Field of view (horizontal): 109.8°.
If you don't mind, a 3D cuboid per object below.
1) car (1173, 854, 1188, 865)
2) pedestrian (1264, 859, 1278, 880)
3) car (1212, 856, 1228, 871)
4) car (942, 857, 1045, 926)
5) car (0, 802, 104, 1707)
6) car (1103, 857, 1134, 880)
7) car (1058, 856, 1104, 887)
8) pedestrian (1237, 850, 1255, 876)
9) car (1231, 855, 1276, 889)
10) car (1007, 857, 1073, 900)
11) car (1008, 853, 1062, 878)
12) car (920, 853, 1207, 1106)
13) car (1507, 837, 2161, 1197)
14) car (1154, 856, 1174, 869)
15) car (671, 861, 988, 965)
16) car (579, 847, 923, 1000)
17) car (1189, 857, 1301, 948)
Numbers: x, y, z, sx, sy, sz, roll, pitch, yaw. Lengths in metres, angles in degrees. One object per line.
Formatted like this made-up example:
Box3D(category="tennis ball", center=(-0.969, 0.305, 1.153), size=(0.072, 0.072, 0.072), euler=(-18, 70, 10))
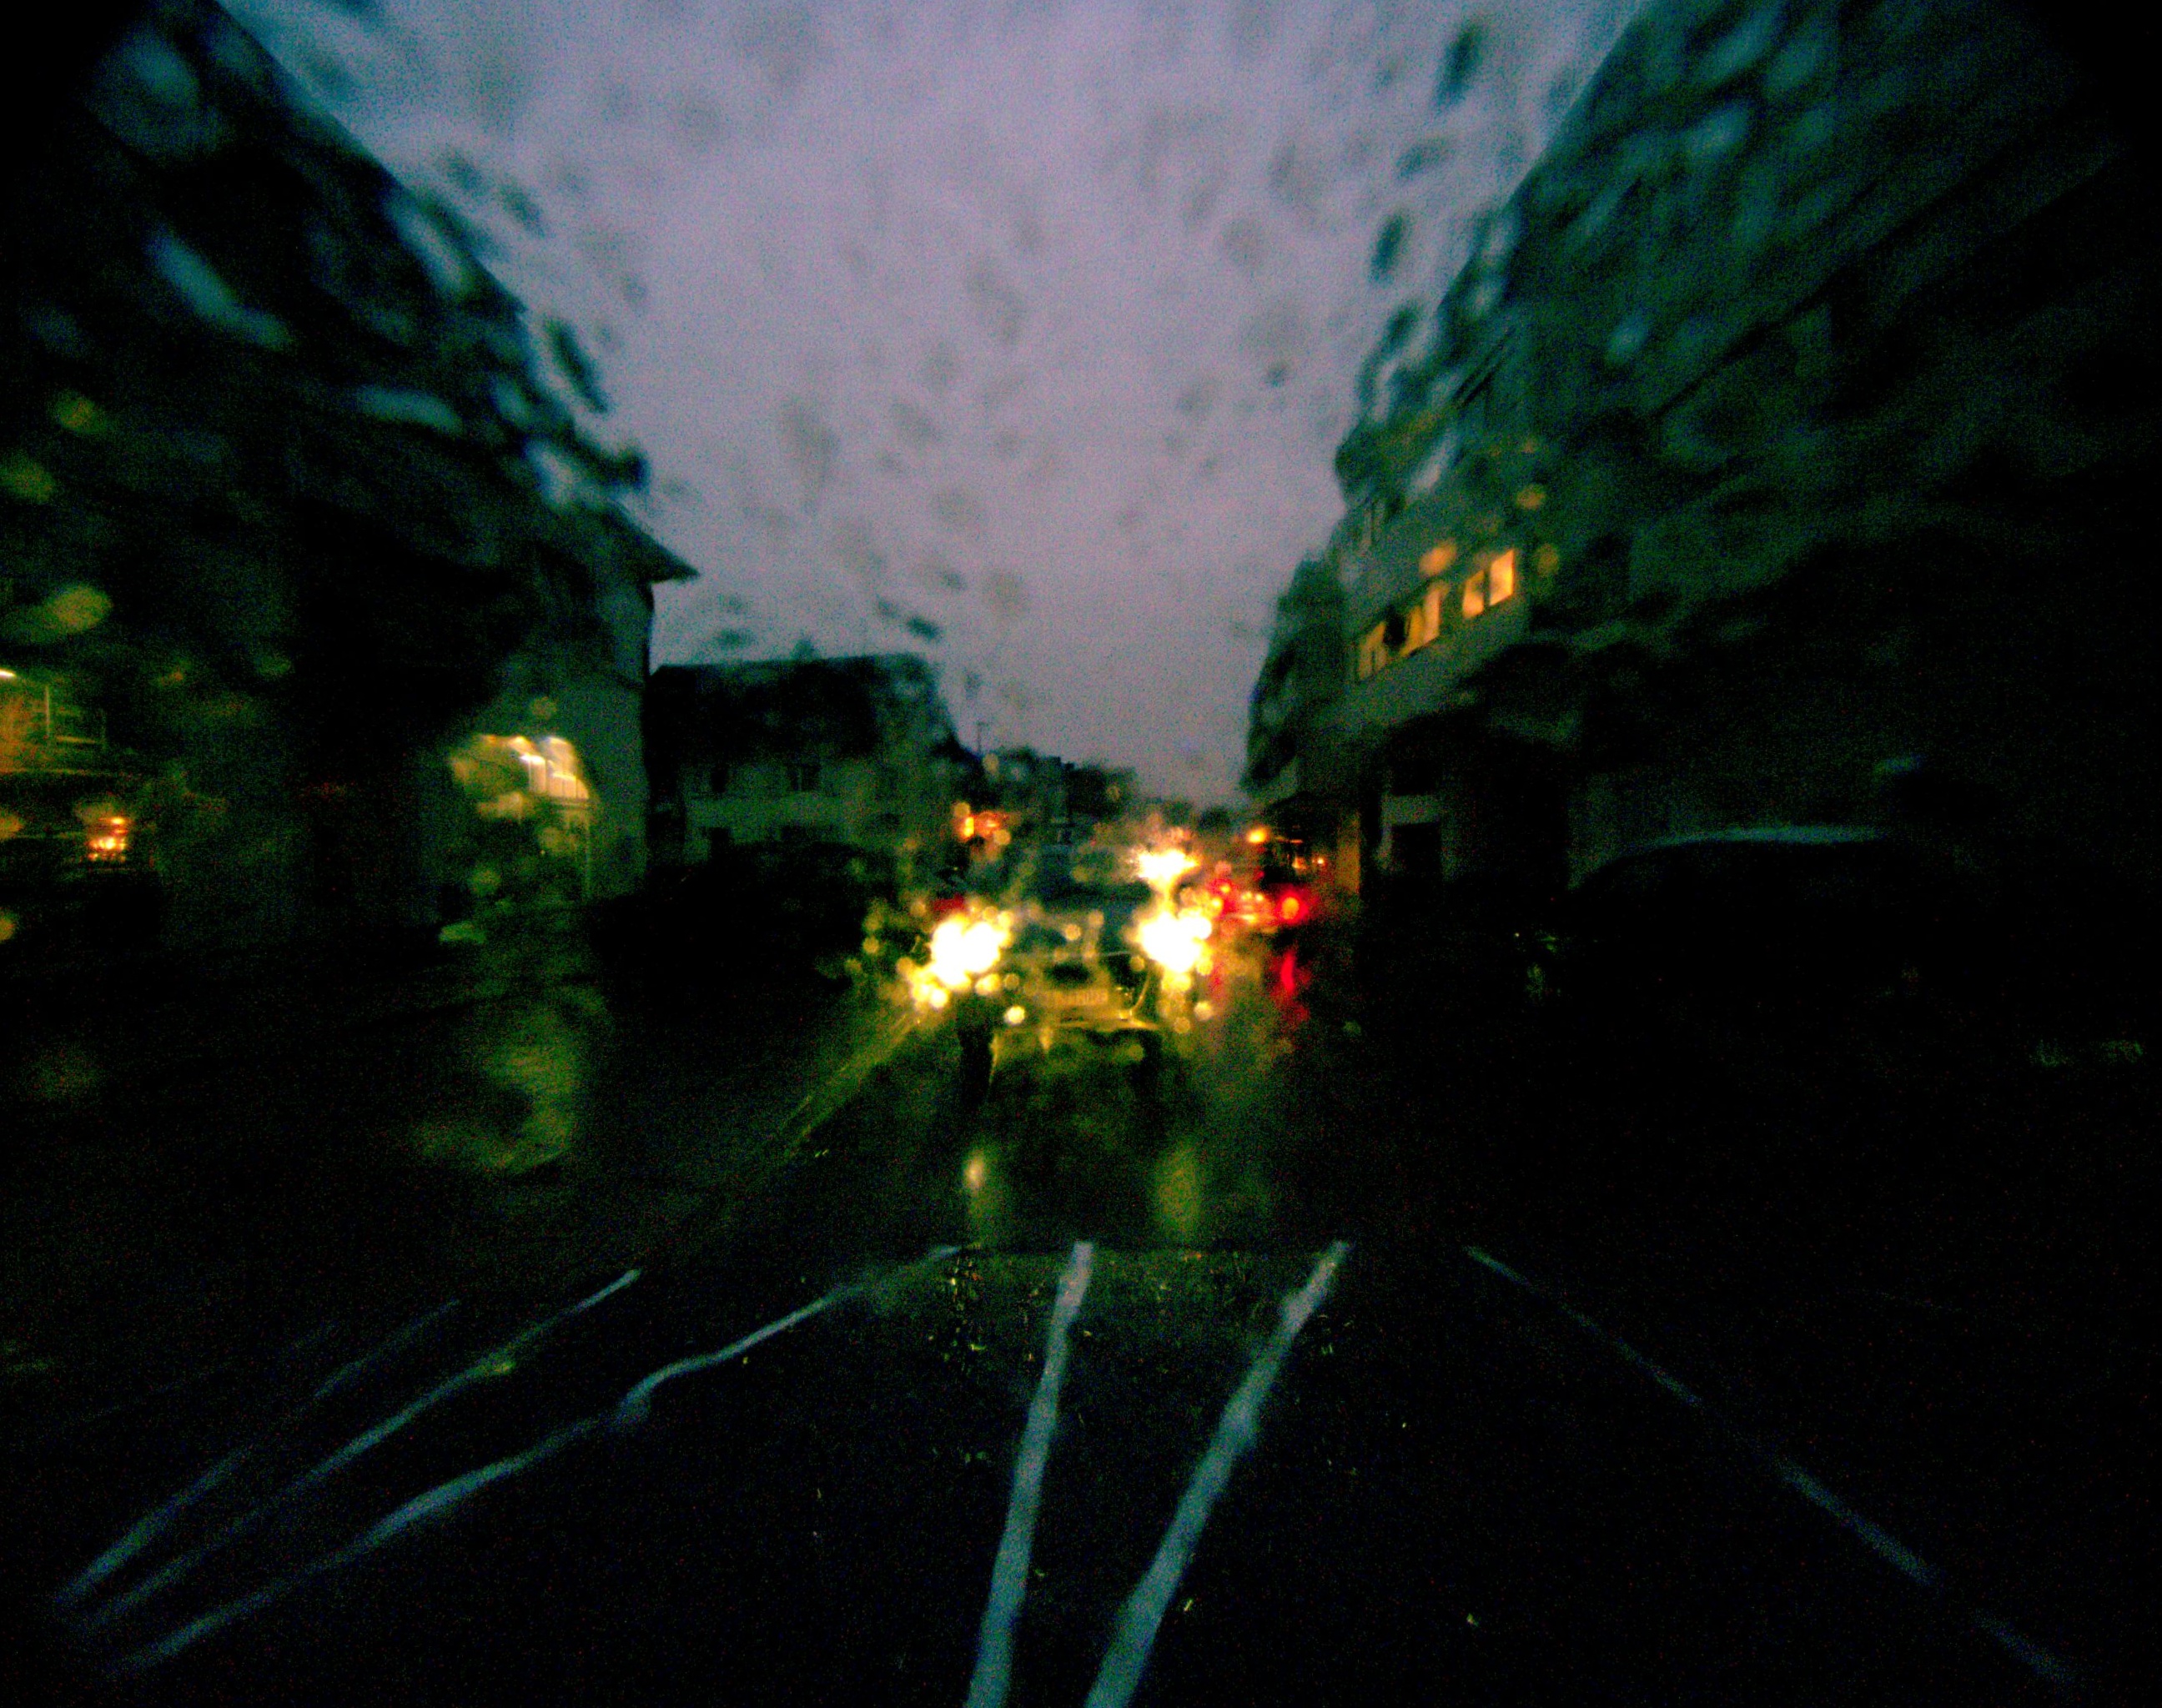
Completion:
Box3D(category="car", center=(14.205, 0.777, 108.280), size=(1.797, 1.501, 4.003), euler=(1, 0, 10))
Box3D(category="pedestrian", center=(12.042, 0.953, 48.102), size=(0.757, 1.302, 0.829), euler=(-1, 1, 7))
Box3D(category="car", center=(15.672, 1.033, 85.894), size=(1.724, 1.604, 3.819), euler=(-2, 0, 10))
Box3D(category="car", center=(-2.133, 0.874, 19.887), size=(1.886, 1.538, 4.672), euler=(1, 0, 3))
Box3D(category="car", center=(-3.831, 0.793, 0.114), size=(4.617, 1.765, 1.945), euler=(0, 0, -4))
Box3D(category="car", center=(2.747, 1.022, 55.065), size=(1.797, 1.501, 4.003), euler=(1, 0, 8))
Box3D(category="car", center=(0.071, 0.873, 40.140), size=(1.826, 1.415, 4.610), euler=(2, 1, 8))
Box3D(category="pedestrian", center=(12.432, 0.649, 57.179), size=(1.200, 1.927, 0.978), euler=(0, 0, 16))
Box3D(category="car", center=(8.033, 0.800, 35.702), size=(1.678, 1.438, 4.430), euler=(0, 0, 7))
Box3D(category="car", center=(-1.490, 0.878, 29.191), size=(1.798, 1.452, 4.532), euler=(1, 0, 6))
Box3D(category="car", center=(-3.033, 0.725, 50.500), size=(3.295, 1.433, 1.687), euler=(3, 1, 8))
Box3D(category="car", center=(-0.124, 0.845, 7.132), size=(1.879, 1.622, 3.999), euler=(-2, 1, 0))
Box3D(category="car", center=(5.001, 0.754, 5.418), size=(1.799, 1.633, 3.812), euler=(-2, 0, 1))
Box3D(category="car", center=(9.636, 0.983, 88.421), size=(1.797, 1.501, 4.004), euler=(1, 0, 13))
Box3D(category="car", center=(-3.880, 0.896, 12.331), size=(4.478, 1.464, 1.898), euler=(1, 0, 0))
Box3D(category="car", center=(-3.888, 0.807, 9.467), size=(3.514, 1.671, 1.715), euler=(2, 0, -4))
Box3D(category="car", center=(3.075, 0.849, 14.830), size=(1.641, 1.526, 3.407), euler=(-1, 0, 4))
